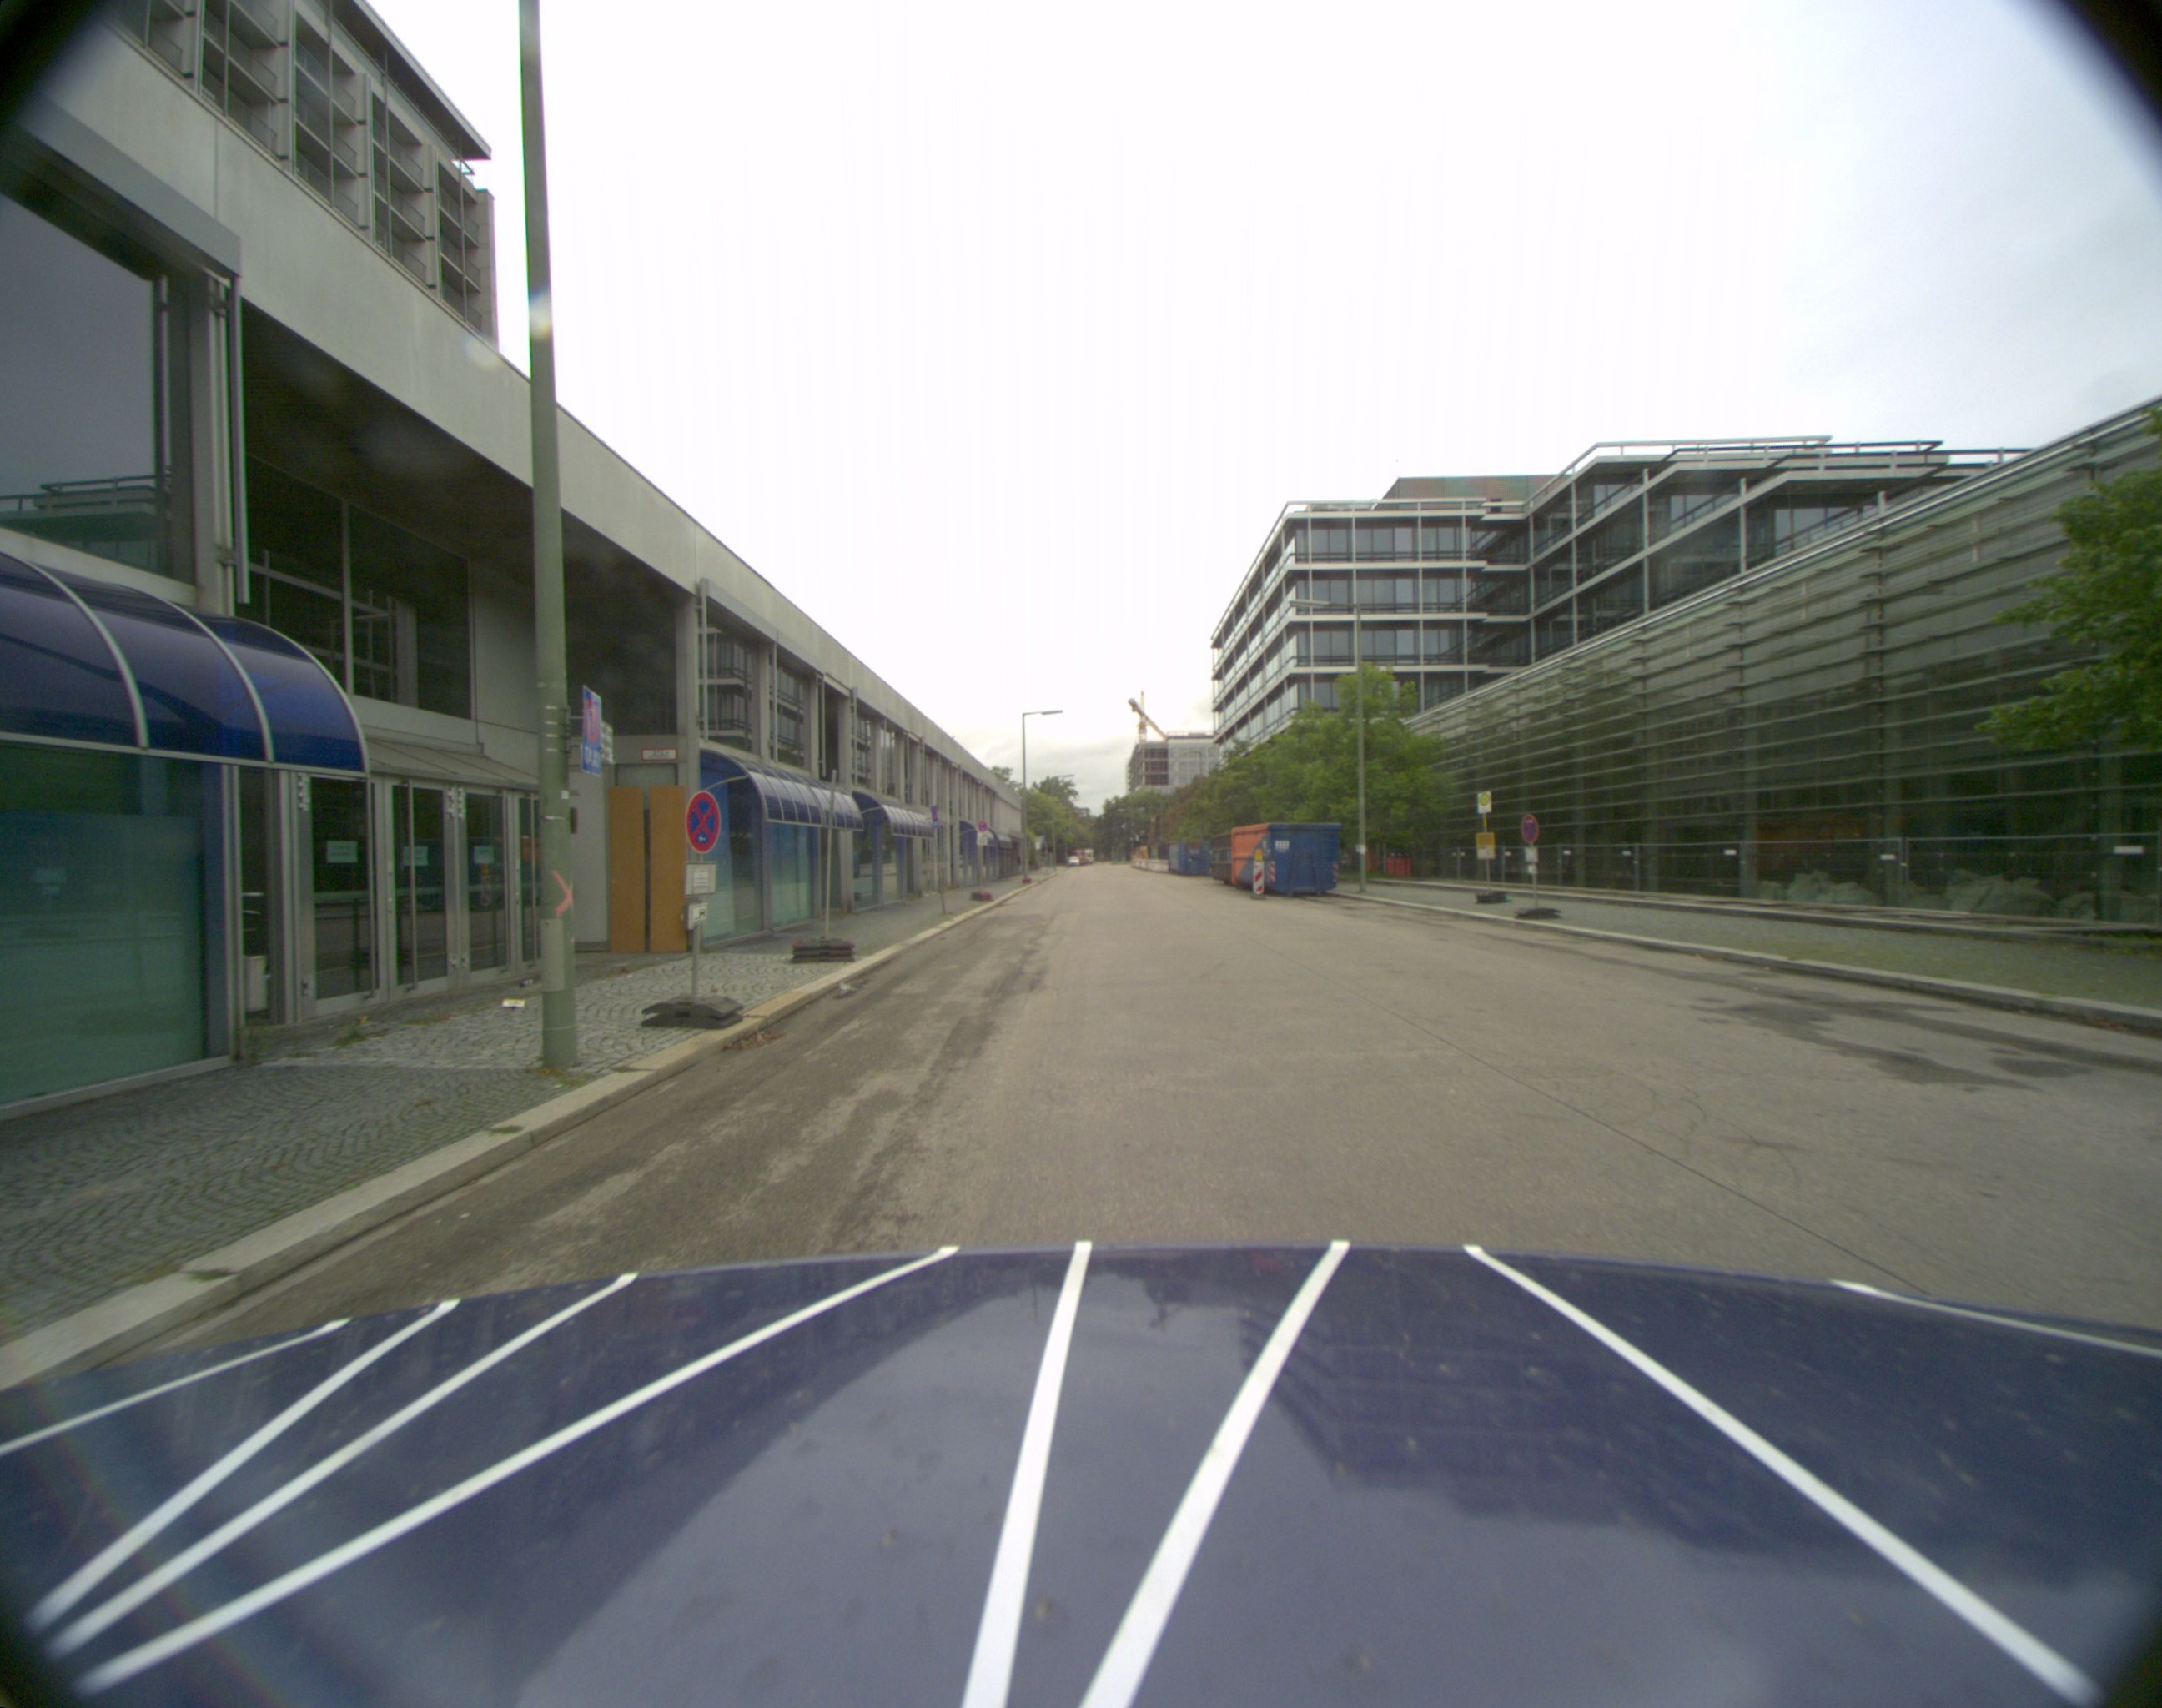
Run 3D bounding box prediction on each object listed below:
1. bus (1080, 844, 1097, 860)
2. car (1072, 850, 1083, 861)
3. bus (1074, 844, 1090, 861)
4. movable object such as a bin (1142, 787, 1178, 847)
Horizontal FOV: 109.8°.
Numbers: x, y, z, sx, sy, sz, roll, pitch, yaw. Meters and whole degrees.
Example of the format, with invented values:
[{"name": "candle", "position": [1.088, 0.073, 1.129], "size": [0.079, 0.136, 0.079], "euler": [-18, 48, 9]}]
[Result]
[{"name": "bus", "position": [1.458, -0.385, 139.841], "size": [2.076, 2.714, 5.871], "euler": [-1, 0, 10]}, {"name": "car", "position": [-0.573, 0.217, 118.743], "size": [1.536, 1.483, 4.059], "euler": [-1, 1, -1]}, {"name": "bus", "position": [0.219, -0.248, 125.935], "size": [2.077, 2.789, 6.274], "euler": [-1, 0, 6]}, {"name": "movable object such as a bin", "position": [9.096, -4.124, 88.880], "size": [2.911, 6.526, 11.782], "euler": [-1, 1, 0]}]
